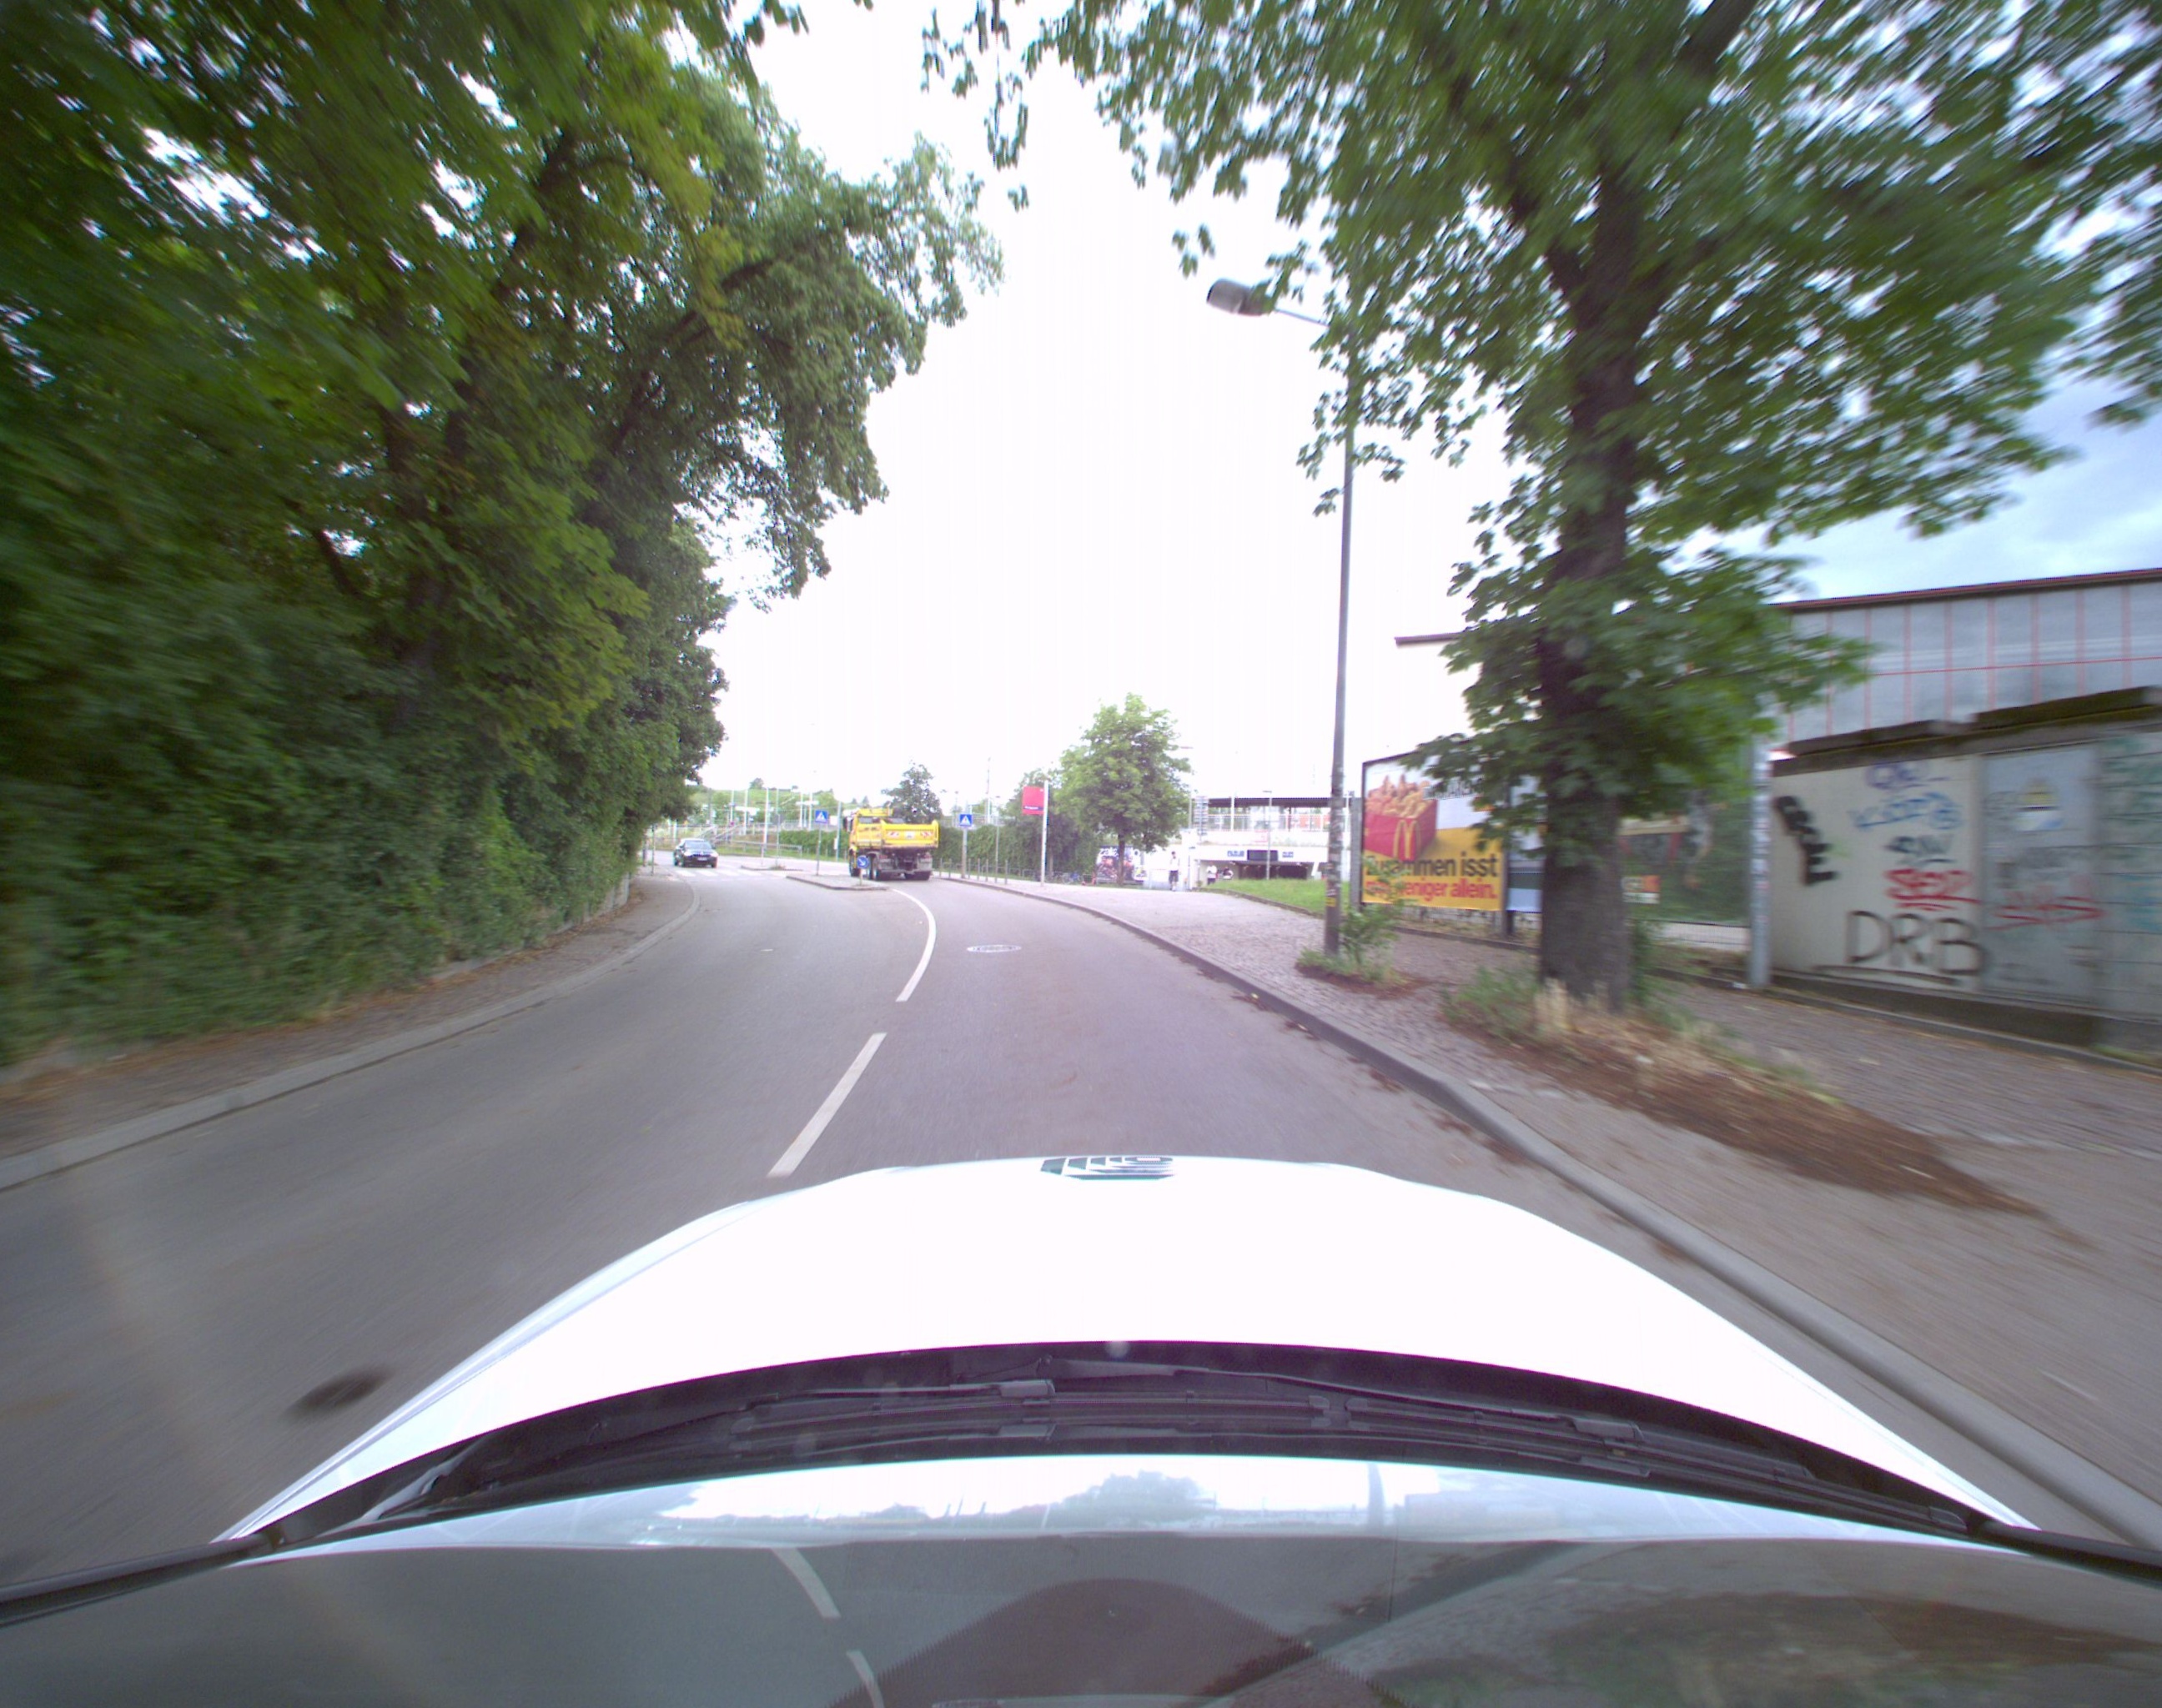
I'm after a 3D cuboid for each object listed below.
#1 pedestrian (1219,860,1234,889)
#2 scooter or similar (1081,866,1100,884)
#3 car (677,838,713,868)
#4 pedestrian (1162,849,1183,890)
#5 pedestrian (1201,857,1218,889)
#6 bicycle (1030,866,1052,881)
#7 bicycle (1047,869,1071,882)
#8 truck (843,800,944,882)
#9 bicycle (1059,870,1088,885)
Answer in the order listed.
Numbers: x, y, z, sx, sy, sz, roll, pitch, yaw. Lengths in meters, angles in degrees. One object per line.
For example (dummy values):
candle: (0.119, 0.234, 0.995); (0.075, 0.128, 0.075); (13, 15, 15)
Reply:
pedestrian: (8.021, 1.131, 44.907); (0.794, 1.583, 0.804); (1, -2, 12)
scooter or similar: (0.654, 1.448, 56.464); (1.192, 1.206, 0.464); (5, -2, -24)
car: (-22.311, -0.102, 47.052); (1.812, 1.610, 4.141); (-1, 1, -26)
pedestrian: (3.890, 0.663, 34.659); (0.843, 1.684, 0.942); (0, -2, 8)
pedestrian: (6.930, 1.022, 43.832); (0.808, 1.703, 0.751); (1, -2, 12)
bicycle: (-2.877, 1.405, 58.324); (1.487, 0.989, 0.692); (4, -1, -10)
bicycle: (-1.546, 1.529, 58.062); (1.582, 0.854, 0.460); (5, -2, -24)
truck: (-9.254, -0.678, 39.351); (2.779, 3.483, 8.059); (2, 1, -27)
bicycle: (-0.548, 1.689, 57.447); (1.976, 0.865, 0.506); (6, -2, -28)
